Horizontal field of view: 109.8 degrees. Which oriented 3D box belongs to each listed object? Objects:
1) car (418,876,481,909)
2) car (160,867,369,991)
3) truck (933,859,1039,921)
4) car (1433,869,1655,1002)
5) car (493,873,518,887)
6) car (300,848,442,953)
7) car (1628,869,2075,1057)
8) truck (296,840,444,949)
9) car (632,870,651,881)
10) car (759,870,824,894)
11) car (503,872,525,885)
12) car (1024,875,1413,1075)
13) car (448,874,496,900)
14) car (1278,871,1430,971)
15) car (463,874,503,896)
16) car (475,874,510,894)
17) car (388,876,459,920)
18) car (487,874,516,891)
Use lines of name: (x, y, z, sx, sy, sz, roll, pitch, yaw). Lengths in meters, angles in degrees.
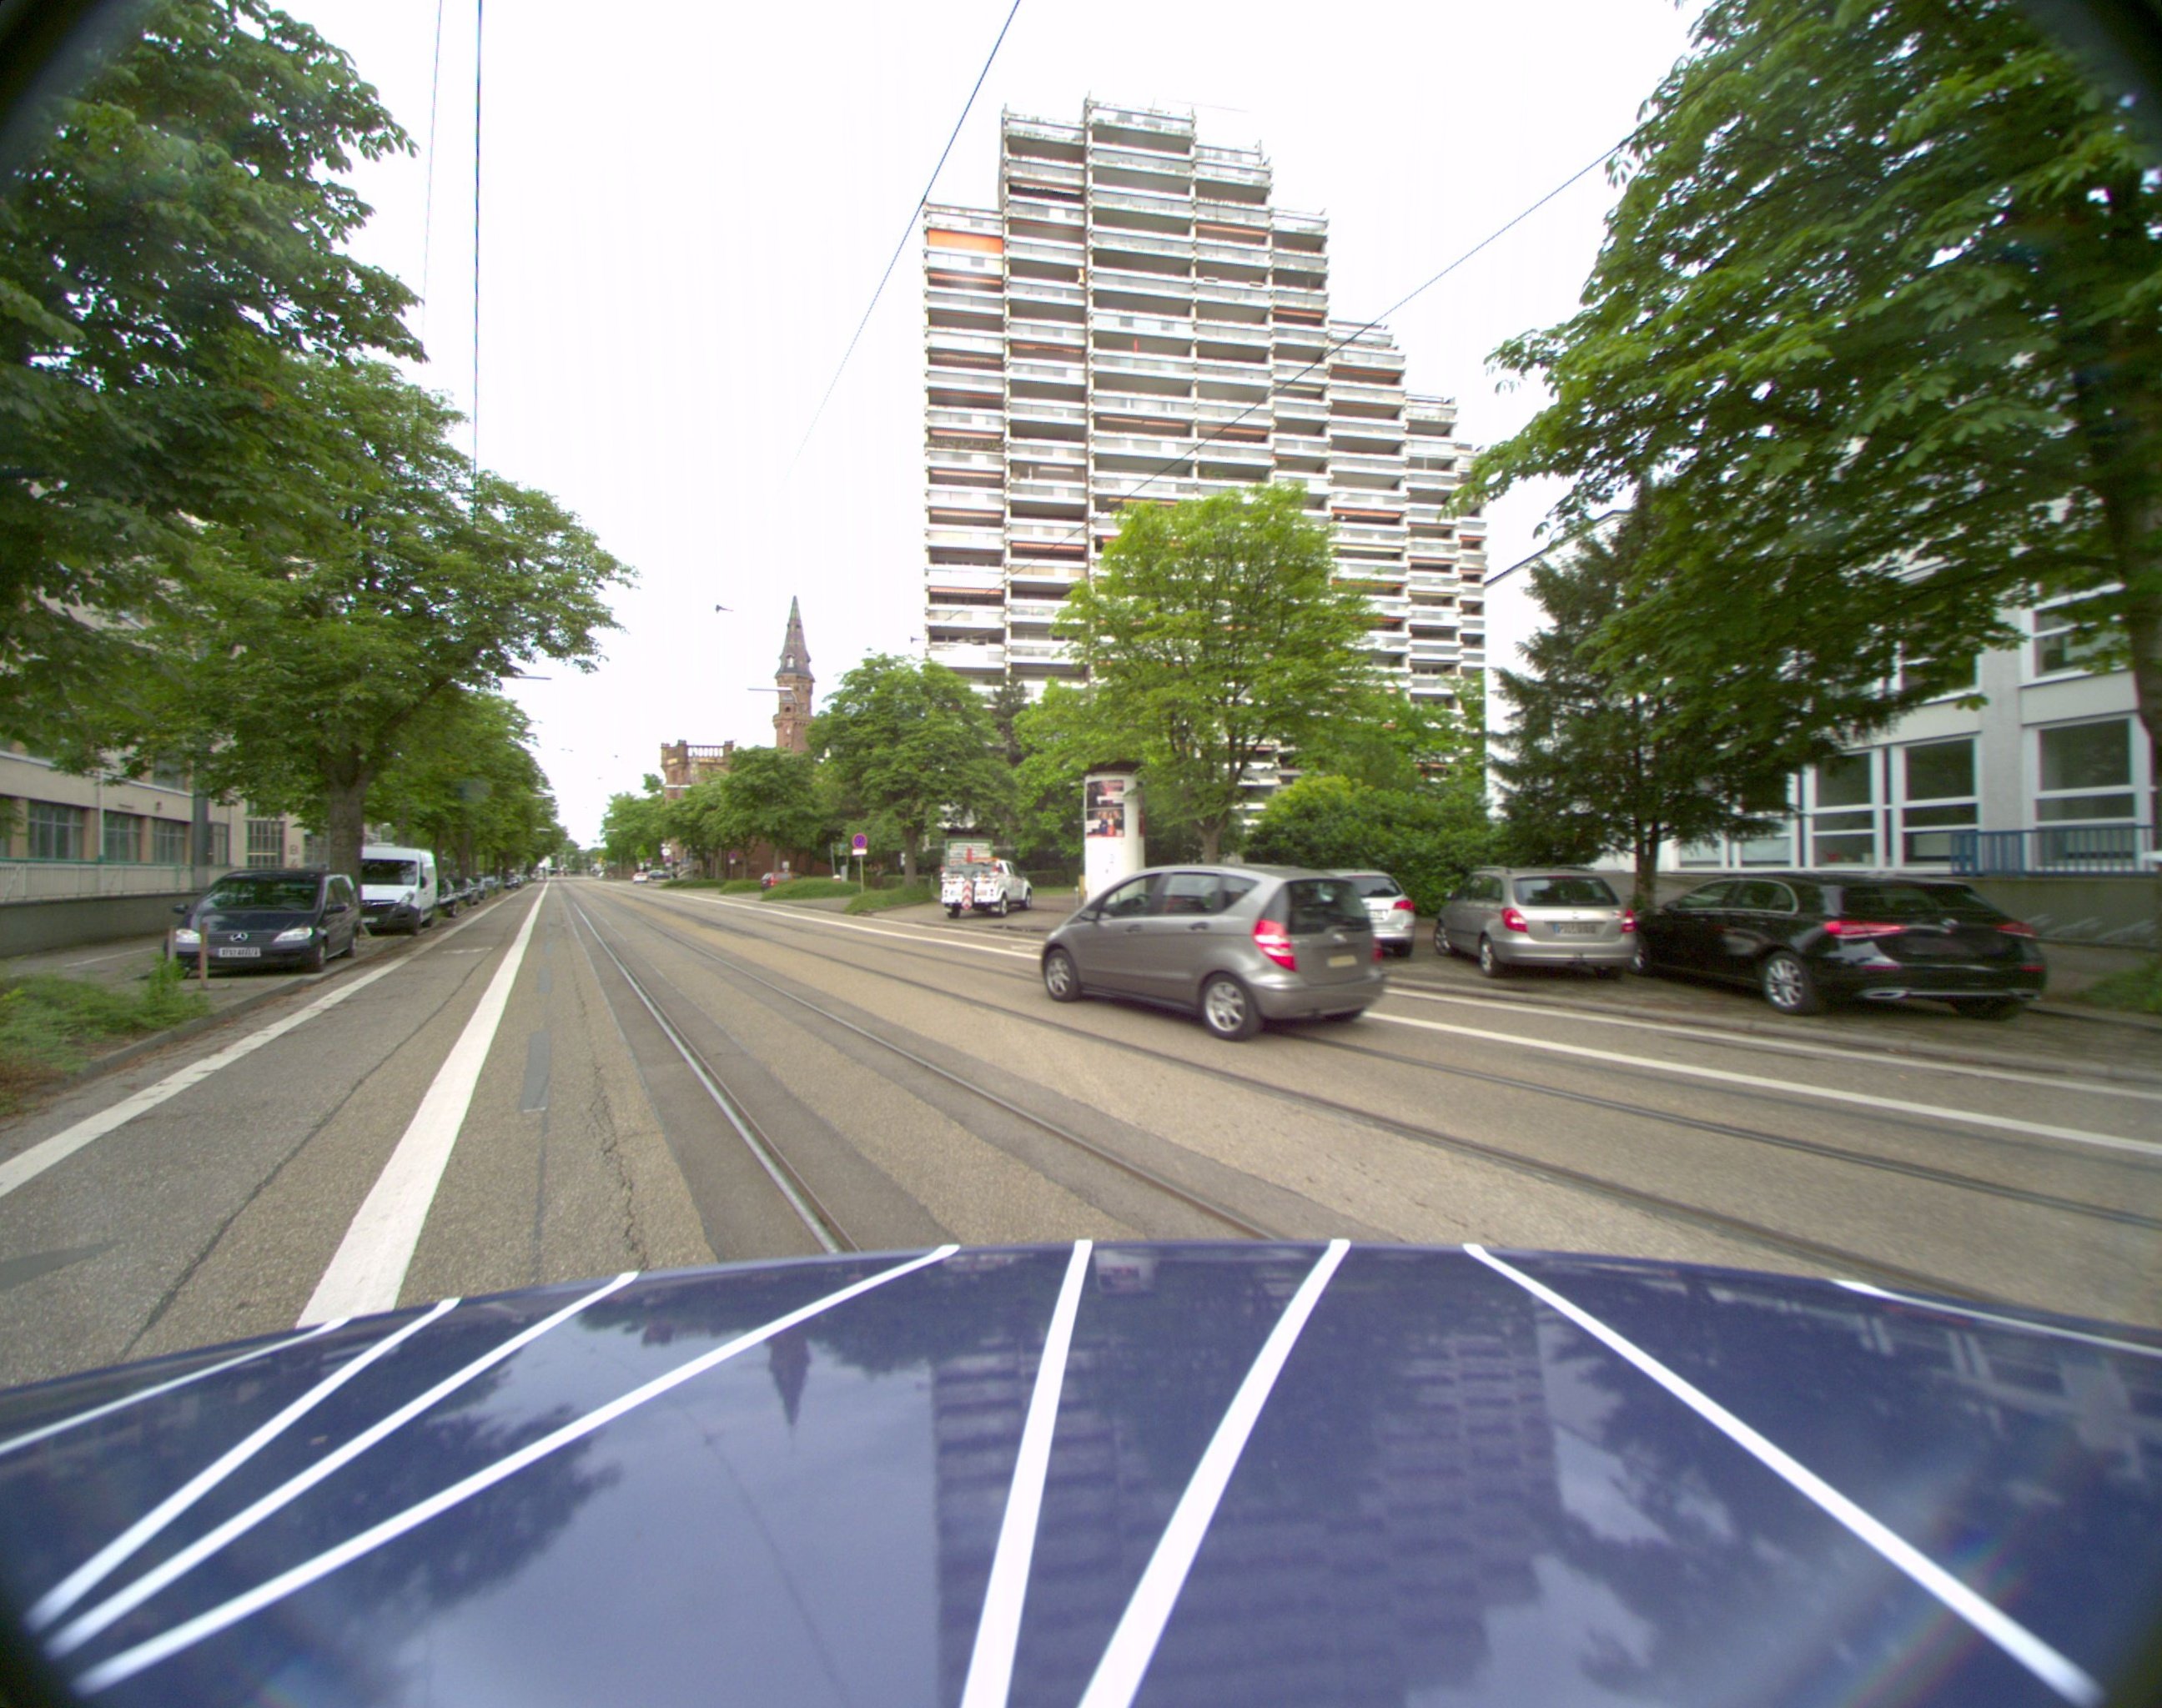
car: (-31.128, 1.836, 37.572, 2.004, 1.452, 4.382, -1, 0, -35)
car: (-14.198, 1.180, 13.492, 1.662, 1.801, 4.074, 2, -2, -35)
truck: (-3.014, 1.111, 25.465, 1.997, 1.837, 5.069, -1, 0, 11)
car: (6.431, 1.024, 11.020, 1.570, 1.515, 3.654, -1, 0, 11)
car: (-62.534, 2.782, 82.595, 2.004, 1.452, 4.382, -1, 0, -35)
car: (-19.865, 1.182, 21.544, 2.123, 2.587, 5.478, -1, 0, -35)
car: (7.995, 0.986, 8.453, 1.697, 1.515, 3.709, -1, 0, 11)
truck: (-19.995, 1.040, 21.657, 2.122, 2.588, 5.478, -5, 2, -35)
car: (-62.332, 3.095, 107.659, 2.004, 1.521, 3.990, 0, -1, -35)
car: (-18.592, 1.753, 48.922, 1.630, 1.369, 3.510, 0, 1, 42)
car: (-70.178, 3.013, 94.047, 2.004, 1.452, 4.382, -1, 0, -35)
car: (1.202, 0.998, 7.987, 1.910, 1.521, 3.744, 0, -1, -36)
car: (-37.439, 2.001, 46.800, 2.004, 1.452, 4.382, -1, 0, -35)
car: (4.836, 1.101, 14.116, 1.801, 1.456, 4.435, -1, 0, 8)
car: (-42.676, 2.187, 54.317, 2.004, 1.452, 4.382, -1, 0, -35)
car: (-47.170, 2.386, 60.969, 2.004, 1.452, 4.382, -1, 0, -35)
car: (-25.066, 1.637, 29.100, 1.830, 1.491, 4.095, 2, -2, -38)
car: (-55.673, 2.716, 73.093, 2.004, 1.452, 4.382, -1, 0, -35)
